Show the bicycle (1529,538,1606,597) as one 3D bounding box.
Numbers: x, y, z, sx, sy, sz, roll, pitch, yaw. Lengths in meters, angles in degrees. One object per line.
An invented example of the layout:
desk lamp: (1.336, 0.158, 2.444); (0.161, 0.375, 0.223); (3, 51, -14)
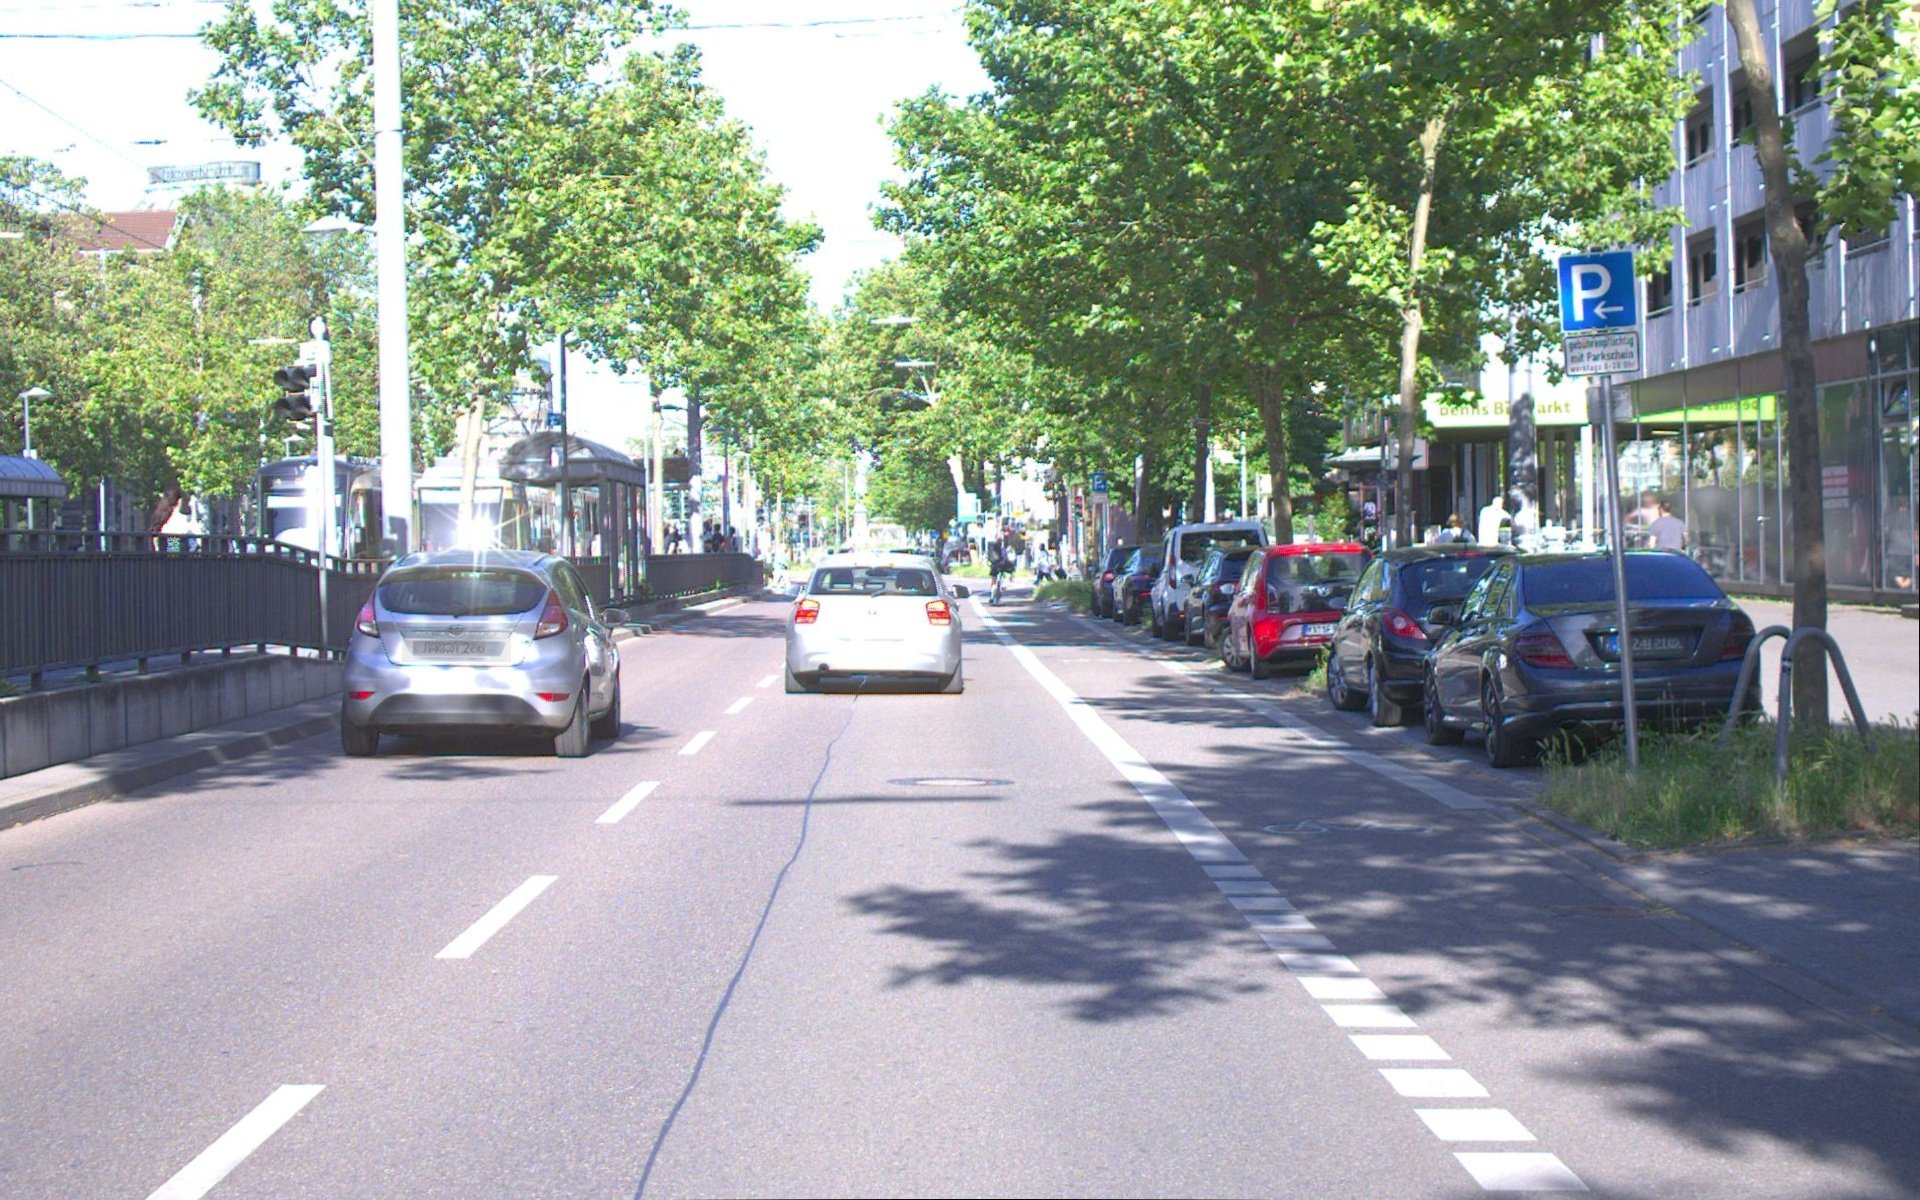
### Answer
bicycle: (11.480, -0.614, 64.986); (1.383, 1.094, 0.243); (1, 1, -1)

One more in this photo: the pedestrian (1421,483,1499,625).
pedestrian: (7.186, -0.662, 49.429); (0.963, 2.007, 0.938); (-1, 1, 0)

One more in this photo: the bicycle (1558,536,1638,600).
bicycle: (11.633, -0.581, 62.711); (1.383, 1.144, 0.243); (1, 1, -1)

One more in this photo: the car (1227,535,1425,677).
car: (4.143, 0.047, 39.444); (1.806, 1.515, 4.000); (1, 0, 0)

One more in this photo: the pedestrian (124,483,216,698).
pedestrian: (-7.298, -0.095, 31.779); (0.639, 1.947, 0.814); (1, 1, 0)

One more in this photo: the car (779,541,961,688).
car: (-0.919, 0.108, 35.561); (1.762, 1.427, 4.000); (0, 1, -1)

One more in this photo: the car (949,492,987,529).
car: (0.439, -4.892, 188.484); (1.993, 2.007, 4.000); (-1, 1, -1)

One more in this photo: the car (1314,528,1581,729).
car: (4.087, 0.185, 29.364); (1.669, 1.546, 4.000); (1, 1, 0)

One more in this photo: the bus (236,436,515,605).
bus: (-14.213, -1.989, 86.510); (2.869, 3.616, 24.605); (0, 1, 0)

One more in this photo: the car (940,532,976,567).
car: (-0.129, -2.952, 200.576); (2.071, 2.007, 4.000); (-1, 1, 0)

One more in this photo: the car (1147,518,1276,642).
car: (3.977, -0.331, 54.936); (1.724, 1.874, 4.000); (1, 1, 0)

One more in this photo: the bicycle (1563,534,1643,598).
bicycle: (11.660, -0.620, 62.386); (1.383, 1.144, 0.243); (1, 1, -1)

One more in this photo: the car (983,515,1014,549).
car: (2.358, -4.173, 211.426); (1.875, 2.007, 3.711); (1, 1, 0)

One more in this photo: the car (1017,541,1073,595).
car: (2.949, -1.137, 120.220); (1.809, 1.785, 3.911); (1, 1, 0)

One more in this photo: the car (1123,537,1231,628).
car: (4.004, -0.352, 63.872); (1.711, 1.557, 4.000); (1, 1, 0)

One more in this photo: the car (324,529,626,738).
car: (-3.444, 0.186, 25.000); (1.646, 1.358, 3.760); (1, 1, 0)

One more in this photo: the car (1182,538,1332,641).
car: (4.215, -0.164, 49.297); (1.781, 1.376, 4.000); (1, 0, 0)

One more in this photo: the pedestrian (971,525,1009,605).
pedestrian: (0.755, -0.888, 86.553); (0.838, 2.007, 0.648); (1, 1, 7)

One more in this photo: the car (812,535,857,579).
car: (-5.977, -2.088, 164.551); (1.993, 2.007, 4.000); (1, 1, 0)

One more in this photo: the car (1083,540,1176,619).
car: (3.486, -0.450, 71.033); (1.700, 1.529, 3.717); (1, 1, 0)

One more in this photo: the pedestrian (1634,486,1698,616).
pedestrian: (10.998, -0.765, 53.573); (0.788, 2.007, 0.891); (-1, 1, 0)

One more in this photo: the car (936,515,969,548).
car: (-0.463, -4.319, 216.644); (1.993, 2.007, 4.000); (1, 1, 0)

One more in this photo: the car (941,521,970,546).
car: (-0.329, -4.576, 237.630); (1.993, 1.692, 4.000); (-1, 1, 0)

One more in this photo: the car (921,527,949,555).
car: (-1.854, -4.363, 253.106); (1.993, 2.007, 4.000); (1, 1, 0)

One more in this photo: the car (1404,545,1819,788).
car: (4.432, 0.412, 24.119); (1.993, 1.504, 4.598); (1, 0, 0)

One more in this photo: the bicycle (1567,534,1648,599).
bicycle: (11.677, -0.610, 62.014); (1.383, 1.144, 0.243); (1, 1, -1)

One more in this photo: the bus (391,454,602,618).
bus: (-11.275, -1.629, 85.795); (2.750, 3.613, 18.848); (0, 1, 0)

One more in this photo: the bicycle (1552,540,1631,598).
bicycle: (11.628, -0.572, 63.344); (1.383, 1.055, 0.243); (1, 1, -1)

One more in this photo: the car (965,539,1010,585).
car: (1.246, -1.773, 158.477); (1.993, 2.007, 4.000); (1, 1, 0)
